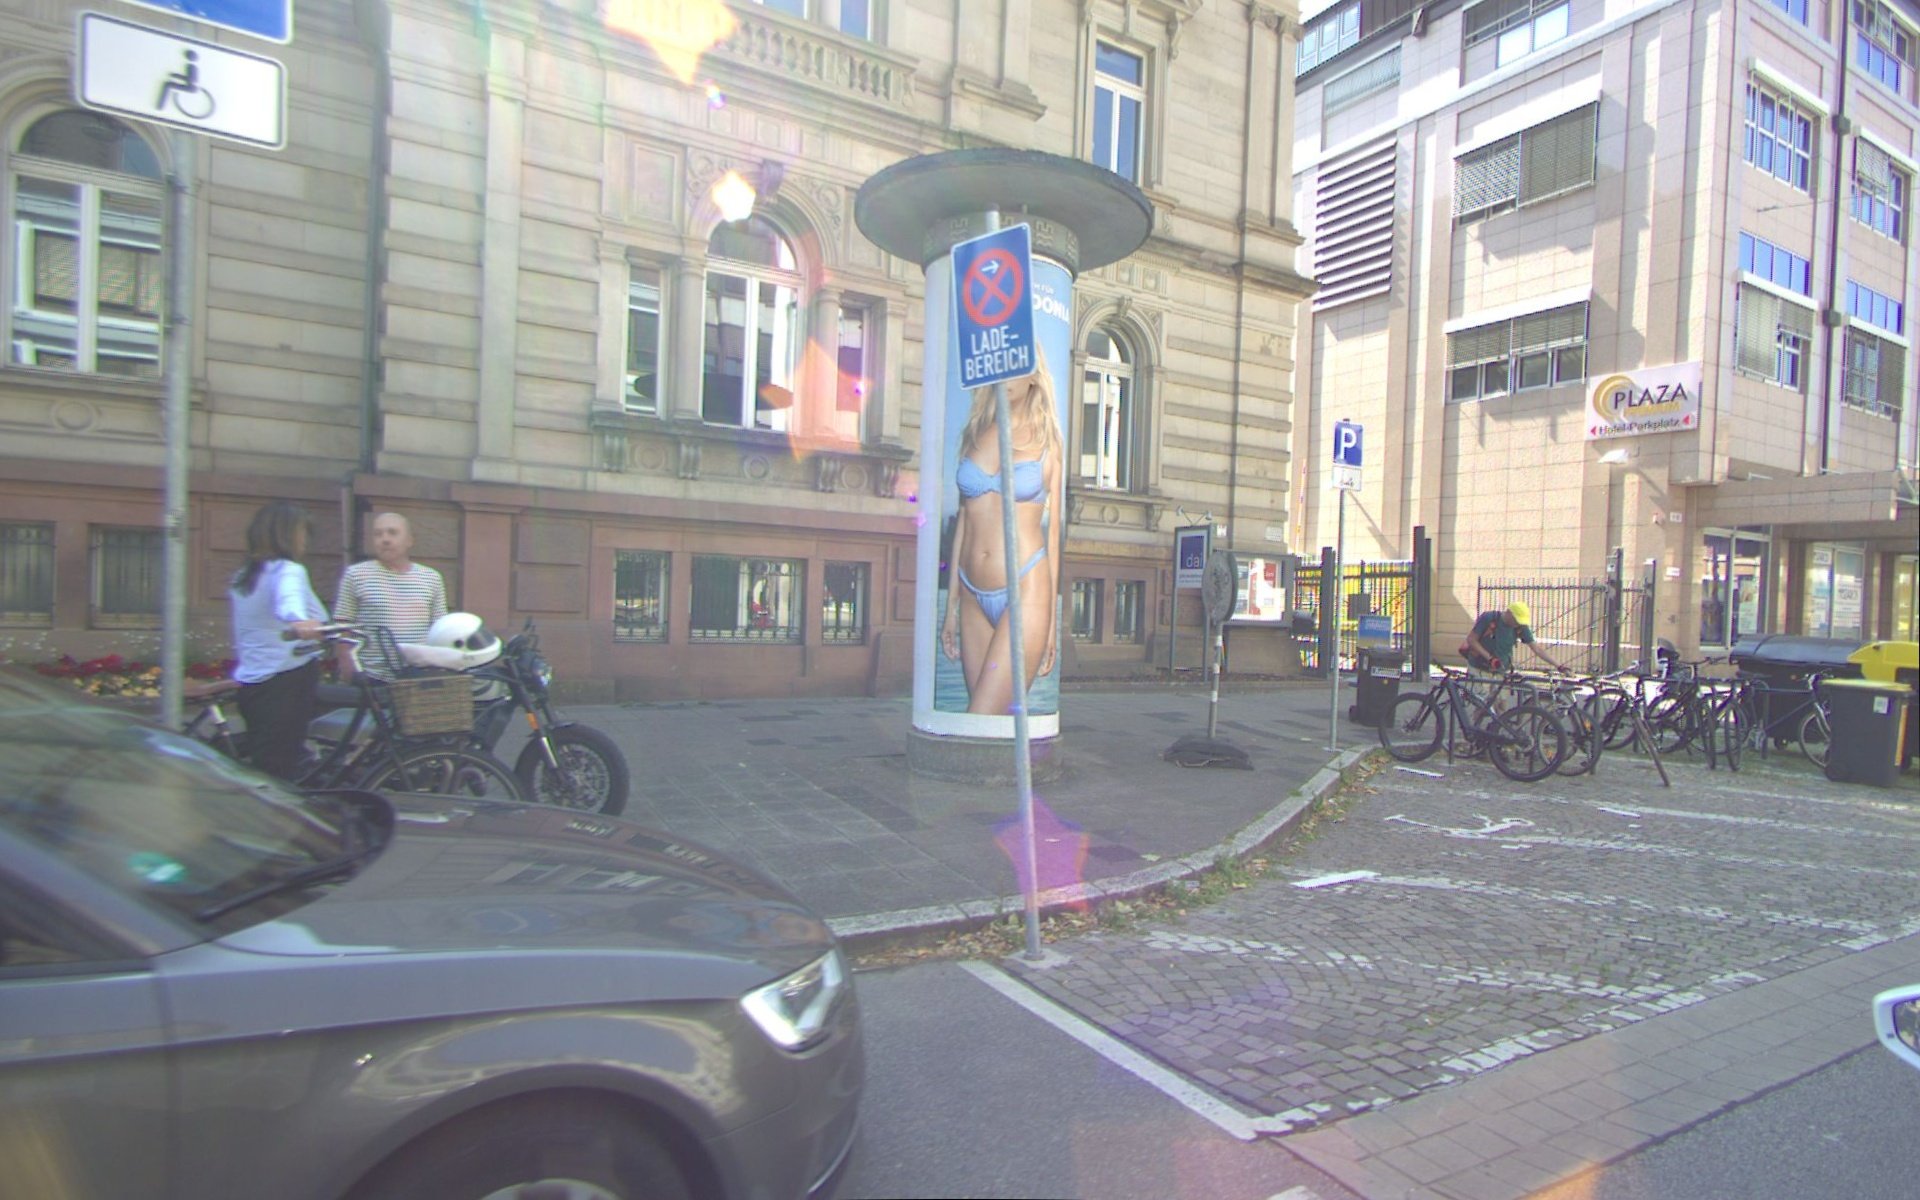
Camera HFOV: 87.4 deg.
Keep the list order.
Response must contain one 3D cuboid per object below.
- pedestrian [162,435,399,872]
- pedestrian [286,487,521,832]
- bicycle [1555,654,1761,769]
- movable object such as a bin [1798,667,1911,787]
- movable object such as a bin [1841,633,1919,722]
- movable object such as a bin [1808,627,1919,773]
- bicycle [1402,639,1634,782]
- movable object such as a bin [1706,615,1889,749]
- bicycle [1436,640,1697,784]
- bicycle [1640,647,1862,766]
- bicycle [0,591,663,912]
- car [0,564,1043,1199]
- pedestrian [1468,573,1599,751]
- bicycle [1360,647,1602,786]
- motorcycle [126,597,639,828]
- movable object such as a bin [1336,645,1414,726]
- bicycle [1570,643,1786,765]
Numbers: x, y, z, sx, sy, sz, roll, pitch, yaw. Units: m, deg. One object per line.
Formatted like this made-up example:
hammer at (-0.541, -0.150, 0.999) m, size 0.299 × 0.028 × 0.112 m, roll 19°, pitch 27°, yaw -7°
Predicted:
pedestrian at (-2.926, 0.221, 4.407) m, size 0.682 × 1.717 × 0.692 m, roll 4°, pitch 0°, yaw -27°
pedestrian at (-2.902, 0.318, 5.330) m, size 0.923 × 1.687 × 0.548 m, roll 4°, pitch 0°, yaw -21°
bicycle at (7.967, 1.237, 11.555) m, size 0.551 × 1.087 × 1.832 m, roll 5°, pitch -1°, yaw -32°
movable object such as a bin at (9.444, 1.311, 10.609) m, size 0.650 × 1.113 × 0.717 m, roll 0°, pitch 3°, yaw -37°
movable object such as a bin at (15.350, 1.245, 16.303) m, size 1.114 × 1.317 × 1.203 m, roll 1°, pitch 3°, yaw -29°
movable object such as a bin at (10.736, 1.098, 11.388) m, size 1.418 × 1.470 × 1.120 m, roll 1°, pitch 3°, yaw -24°
bicycle at (5.664, 1.074, 10.320) m, size 0.552 × 1.135 × 1.943 m, roll 3°, pitch 3°, yaw -40°
movable object such as a bin at (10.397, 0.981, 12.505) m, size 1.345 × 1.470 × 1.205 m, roll 1°, pitch 3°, yaw -24°
bicycle at (6.277, 1.108, 10.548) m, size 0.552 × 1.135 × 2.217 m, roll 3°, pitch 3°, yaw -40°
bicycle at (9.313, 1.213, 11.923) m, size 0.504 × 1.135 × 1.956 m, roll 3°, pitch 1°, yaw -32°
bicycle at (-2.419, 0.621, 4.137) m, size 2.209 × 1.135 × 0.429 m, roll 4°, pitch 2°, yaw -19°
car at (-2.142, 0.608, 1.875) m, size 4.197 × 1.372 × 1.928 m, roll 2°, pitch 0°, yaw -29°
pedestrian at (6.010, 0.619, 10.540) m, size 0.741 × 1.748 × 0.883 m, roll 2°, pitch 1°, yaw -36°
bicycle at (5.075, 1.088, 9.907) m, size 0.666 × 1.031 × 1.946 m, roll 3°, pitch 3°, yaw -40°
motorcycle at (-2.755, 0.559, 5.036) m, size 2.128 × 1.011 × 0.453 m, roll 3°, pitch 2°, yaw -20°
movable object such as a bin at (4.945, 1.014, 11.989) m, size 0.506 × 0.887 × 0.650 m, roll 4°, pitch 0°, yaw -37°
bicycle at (8.454, 1.187, 11.935) m, size 0.504 × 1.135 × 1.962 m, roll 3°, pitch 2°, yaw -32°
